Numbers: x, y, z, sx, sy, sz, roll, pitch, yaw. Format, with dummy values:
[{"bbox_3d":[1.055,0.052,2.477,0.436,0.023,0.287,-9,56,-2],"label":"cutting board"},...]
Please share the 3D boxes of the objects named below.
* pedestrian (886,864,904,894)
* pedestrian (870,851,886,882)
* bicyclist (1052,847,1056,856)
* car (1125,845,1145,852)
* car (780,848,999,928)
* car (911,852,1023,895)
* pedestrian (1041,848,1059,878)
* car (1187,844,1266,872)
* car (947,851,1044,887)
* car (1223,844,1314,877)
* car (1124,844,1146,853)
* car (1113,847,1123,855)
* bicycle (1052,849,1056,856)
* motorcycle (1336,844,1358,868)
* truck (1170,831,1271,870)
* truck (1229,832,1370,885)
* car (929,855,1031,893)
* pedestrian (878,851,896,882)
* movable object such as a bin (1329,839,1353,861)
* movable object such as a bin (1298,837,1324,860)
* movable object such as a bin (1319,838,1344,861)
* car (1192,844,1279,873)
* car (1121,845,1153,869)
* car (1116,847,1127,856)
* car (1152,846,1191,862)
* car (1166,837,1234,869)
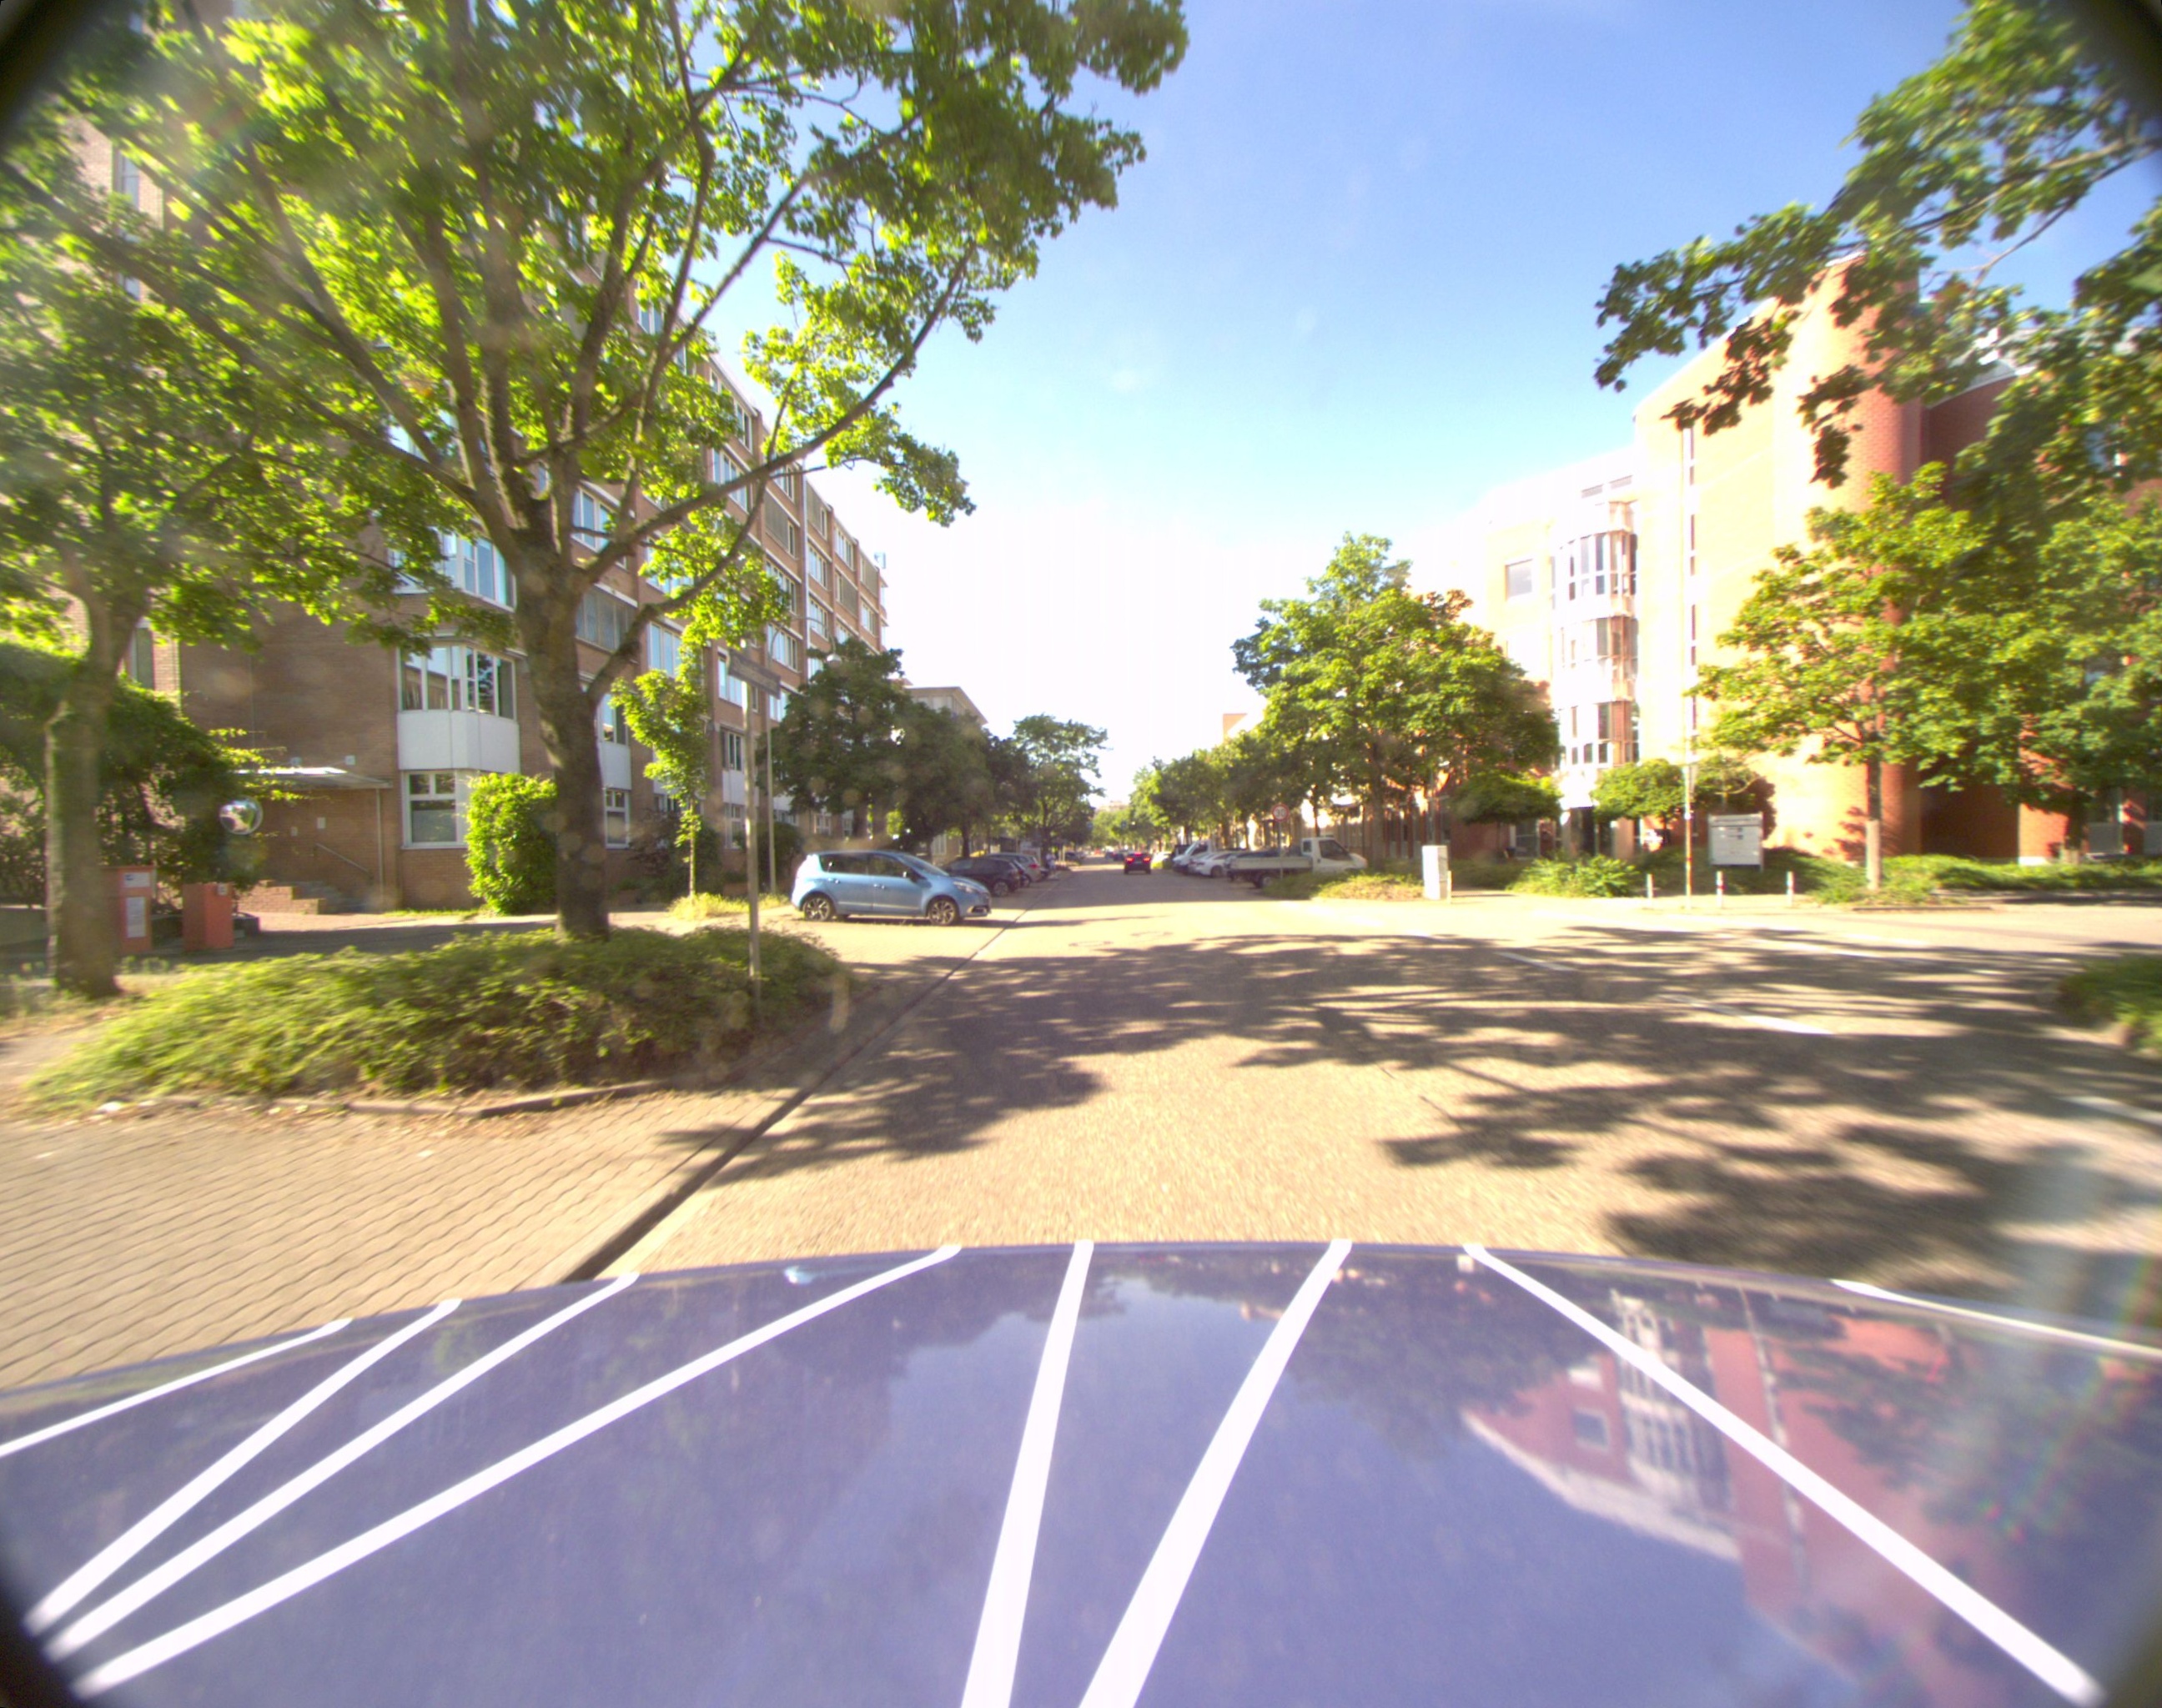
[{"bbox_3d":[-9.157,1.228,37.424,0.702,1.449,0.715,-1,1,-2],"label":"pedestrian"},{"bbox_3d":[-10.021,0.610,37.508,0.604,1.512,0.594,-1,1,-2],"label":"pedestrian"},{"bbox_3d":[-4.773,-0.414,134.139,0.538,1.627,0.822,-1,1,2],"label":"bicyclist"},{"bbox_3d":[11.415,-1.138,159.904,4.003,1.411,1.618,-2,1,0],"label":"car"},{"bbox_3d":[-4.190,0.725,17.154,4.416,1.609,1.912,1,1,0],"label":"car"},{"bbox_3d":[-4.168,0.720,28.194,3.856,1.475,1.824,1,0,-1],"label":"car"},{"bbox_3d":[-1.809,0.533,44.377,0.921,1.701,0.697,2,0,-12],"label":"pedestrian"},{"bbox_3d":[8.868,0.218,46.663,4.438,1.478,2.000,-2,1,0],"label":"car"},{"bbox_3d":[-3.938,0.681,35.445,4.365,1.588,1.938,-1,1,-5],"label":"car"},{"bbox_3d":[8.918,0.305,36.365,3.995,1.427,1.789,-2,1,5],"label":"car"},{"bbox_3d":[12.900,-1.337,182.373,5.317,1.876,2.000,-1,1,2],"label":"car"},{"bbox_3d":[7.748,-0.663,159.453,1.784,1.503,4.000,-1,1,1],"label":"car"},{"bbox_3d":[-4.769,-0.257,134.117,0.535,1.072,1.920,-1,1,2],"label":"bicycle"},{"bbox_3d":[17.809,0.138,50.838,0.716,1.582,2.109,-1,1,0],"label":"motorcycle"},{"bbox_3d":[9.056,-0.219,49.708,6.247,2.408,2.187,-1,1,1],"label":"truck"},{"bbox_3d":[8.584,0.165,30.219,4.996,1.948,2.138,-1,1,3],"label":"truck"},{"bbox_3d":[-3.950,0.780,30.129,3.810,1.400,1.702,1,0,0],"label":"car"},{"bbox_3d":[-9.553,0.605,37.434,0.758,1.543,0.559,-1,1,-2],"label":"pedestrian"},{"bbox_3d":[18.601,-0.263,54.346,1.149,1.554,1.243,-1,1,-11],"label":"movable object such as a bin"},{"bbox_3d":[18.334,-0.446,60.584,1.602,1.786,1.664,-1,1,3],"label":"movable object such as a bin"},{"bbox_3d":[18.364,-0.306,55.639,1.149,1.610,1.440,-1,1,-11],"label":"movable object such as a bin"},{"bbox_3d":[8.835,0.262,43.791,4.553,1.433,1.890,-3,0,0],"label":"car"},{"bbox_3d":[4.035,0.172,55.549,1.897,1.674,4.352,-1,1,-1],"label":"car"},{"bbox_3d":[6.503,-0.402,122.994,1.648,1.412,4.000,-1,1,1],"label":"car"},{"bbox_3d":[9.246,-0.004,77.999,3.764,1.444,1.754,-3,1,0],"label":"car"},{"bbox_3d":[8.597,-0.092,55.006,4.493,2.040,1.999,-3,1,-1],"label":"car"}]
